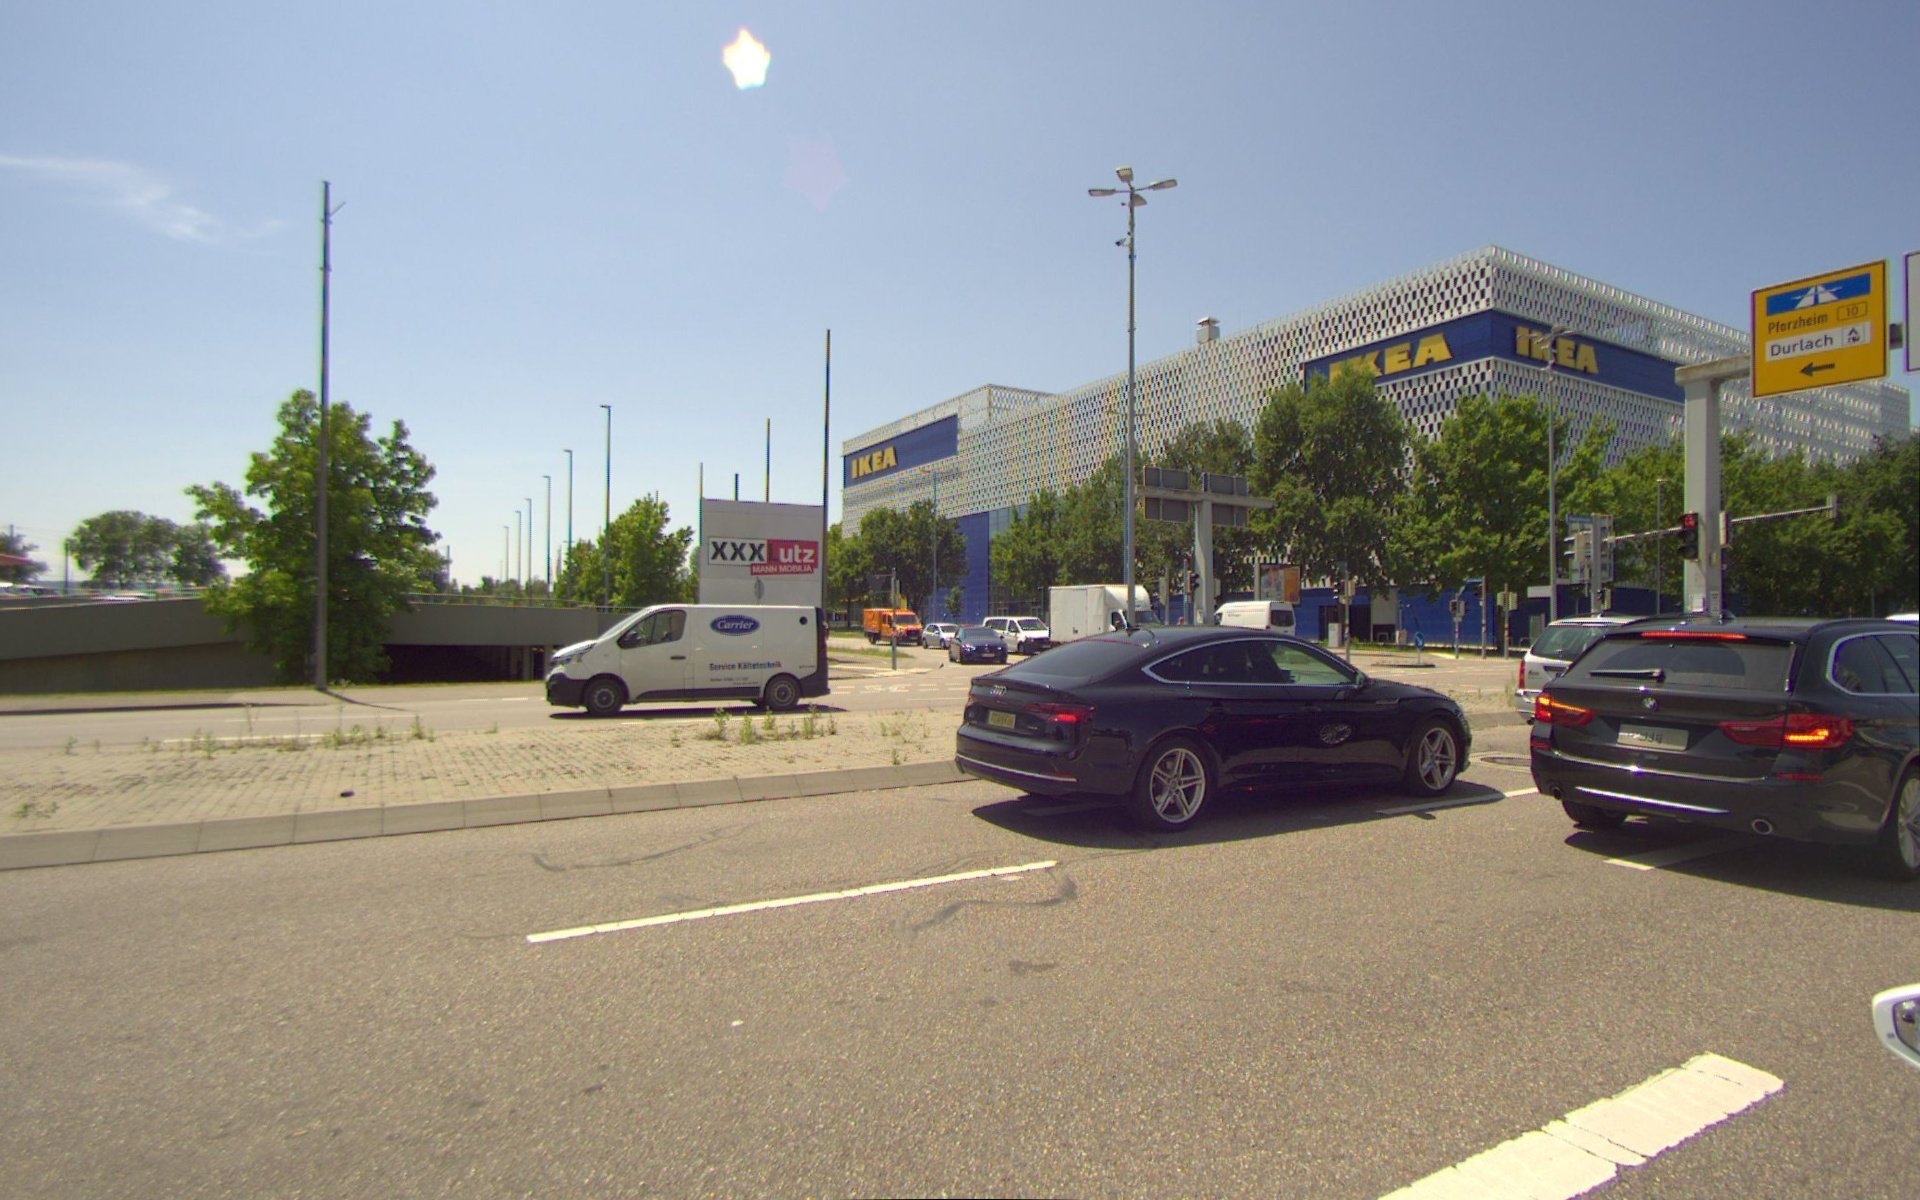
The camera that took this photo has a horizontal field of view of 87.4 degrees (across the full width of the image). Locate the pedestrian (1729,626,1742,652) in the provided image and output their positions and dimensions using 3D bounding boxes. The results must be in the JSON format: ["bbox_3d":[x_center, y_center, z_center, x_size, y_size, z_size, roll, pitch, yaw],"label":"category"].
[{"bbox_3d":[45.398,2.275,58.795,0.477,1.502,0.460,1,-2,-27],"label":"pedestrian"}]

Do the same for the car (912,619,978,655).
[{"bbox_3d":[-0.940,2.146,59.112,1.975,2.040,4.680,1,-2,-28],"label":"car"}]

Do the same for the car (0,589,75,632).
[{"bbox_3d":[-46.199,0.541,49.136,3.953,2.040,1.984,1,-2,-30],"label":"car"}]

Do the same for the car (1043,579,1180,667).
[{"bbox_3d":[6.465,0.999,43.983,2.156,3.532,6.872,-1,-1,-29],"label":"car"}]

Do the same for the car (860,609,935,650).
[{"bbox_3d":[-4.177,1.950,66.151,2.542,2.568,6.585,1,-2,-27],"label":"car"}]

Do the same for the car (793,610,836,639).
[{"bbox_3d":[-12.136,2.065,83.632,1.973,2.318,5.846,1,-2,-25],"label":"car"}]

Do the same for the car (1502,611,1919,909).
[{"bbox_3d":[5.945,0.831,7.034,4.571,1.485,1.790,1,0,-32],"label":"car"}]

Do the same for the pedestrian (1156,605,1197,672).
[{"bbox_3d":[6.714,1.199,31.209,0.856,2.040,0.898,1,-2,-36],"label":"pedestrian"}]

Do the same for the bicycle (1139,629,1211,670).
[{"bbox_3d":[6.667,1.523,31.221,0.987,1.229,2.078,1,-2,-36],"label":"bicycle"}]

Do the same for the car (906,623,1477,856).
[{"bbox_3d":[1.948,0.896,8.040,4.478,1.409,1.740,1,-1,-29],"label":"car"}]

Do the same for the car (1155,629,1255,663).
[{"bbox_3d":[10.409,1.921,43.019,1.755,1.360,4.264,0,-1,-29],"label":"car"}]

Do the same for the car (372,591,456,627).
[{"bbox_3d":[-30.466,0.538,56.080,3.958,1.933,1.982,1,-2,-33],"label":"car"}]

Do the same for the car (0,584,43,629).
[{"bbox_3d":[-45.512,0.289,46.624,3.953,2.040,1.984,1,-2,-30],"label":"car"}]

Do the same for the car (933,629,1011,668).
[{"bbox_3d":[0.440,1.944,41.136,1.904,1.528,3.981,1,-2,-21],"label":"car"}]

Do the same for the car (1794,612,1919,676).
[{"bbox_3d":[25.699,1.190,27.457,1.689,1.673,4.190,1,-1,-20],"label":"car"}]

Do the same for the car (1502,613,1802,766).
[{"bbox_3d":[8.291,0.931,11.933,3.963,1.514,1.785,1,-1,-37],"label":"car"}]

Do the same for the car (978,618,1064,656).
[{"bbox_3d":[3.032,1.855,51.209,1.974,1.835,5.436,1,-2,-26],"label":"car"}]

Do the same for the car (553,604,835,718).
[{"bbox_3d":[-4.838,1.052,18.327,4.772,1.875,1.826,0,-2,-24],"label":"car"}]

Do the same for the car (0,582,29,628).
[{"bbox_3d":[-44.409,0.221,44.676,3.953,2.040,1.984,1,-2,-30],"label":"car"}]

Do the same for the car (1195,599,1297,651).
[{"bbox_3d":[14.951,1.289,52.785,1.974,2.601,5.471,1,-1,-27],"label":"car"}]
